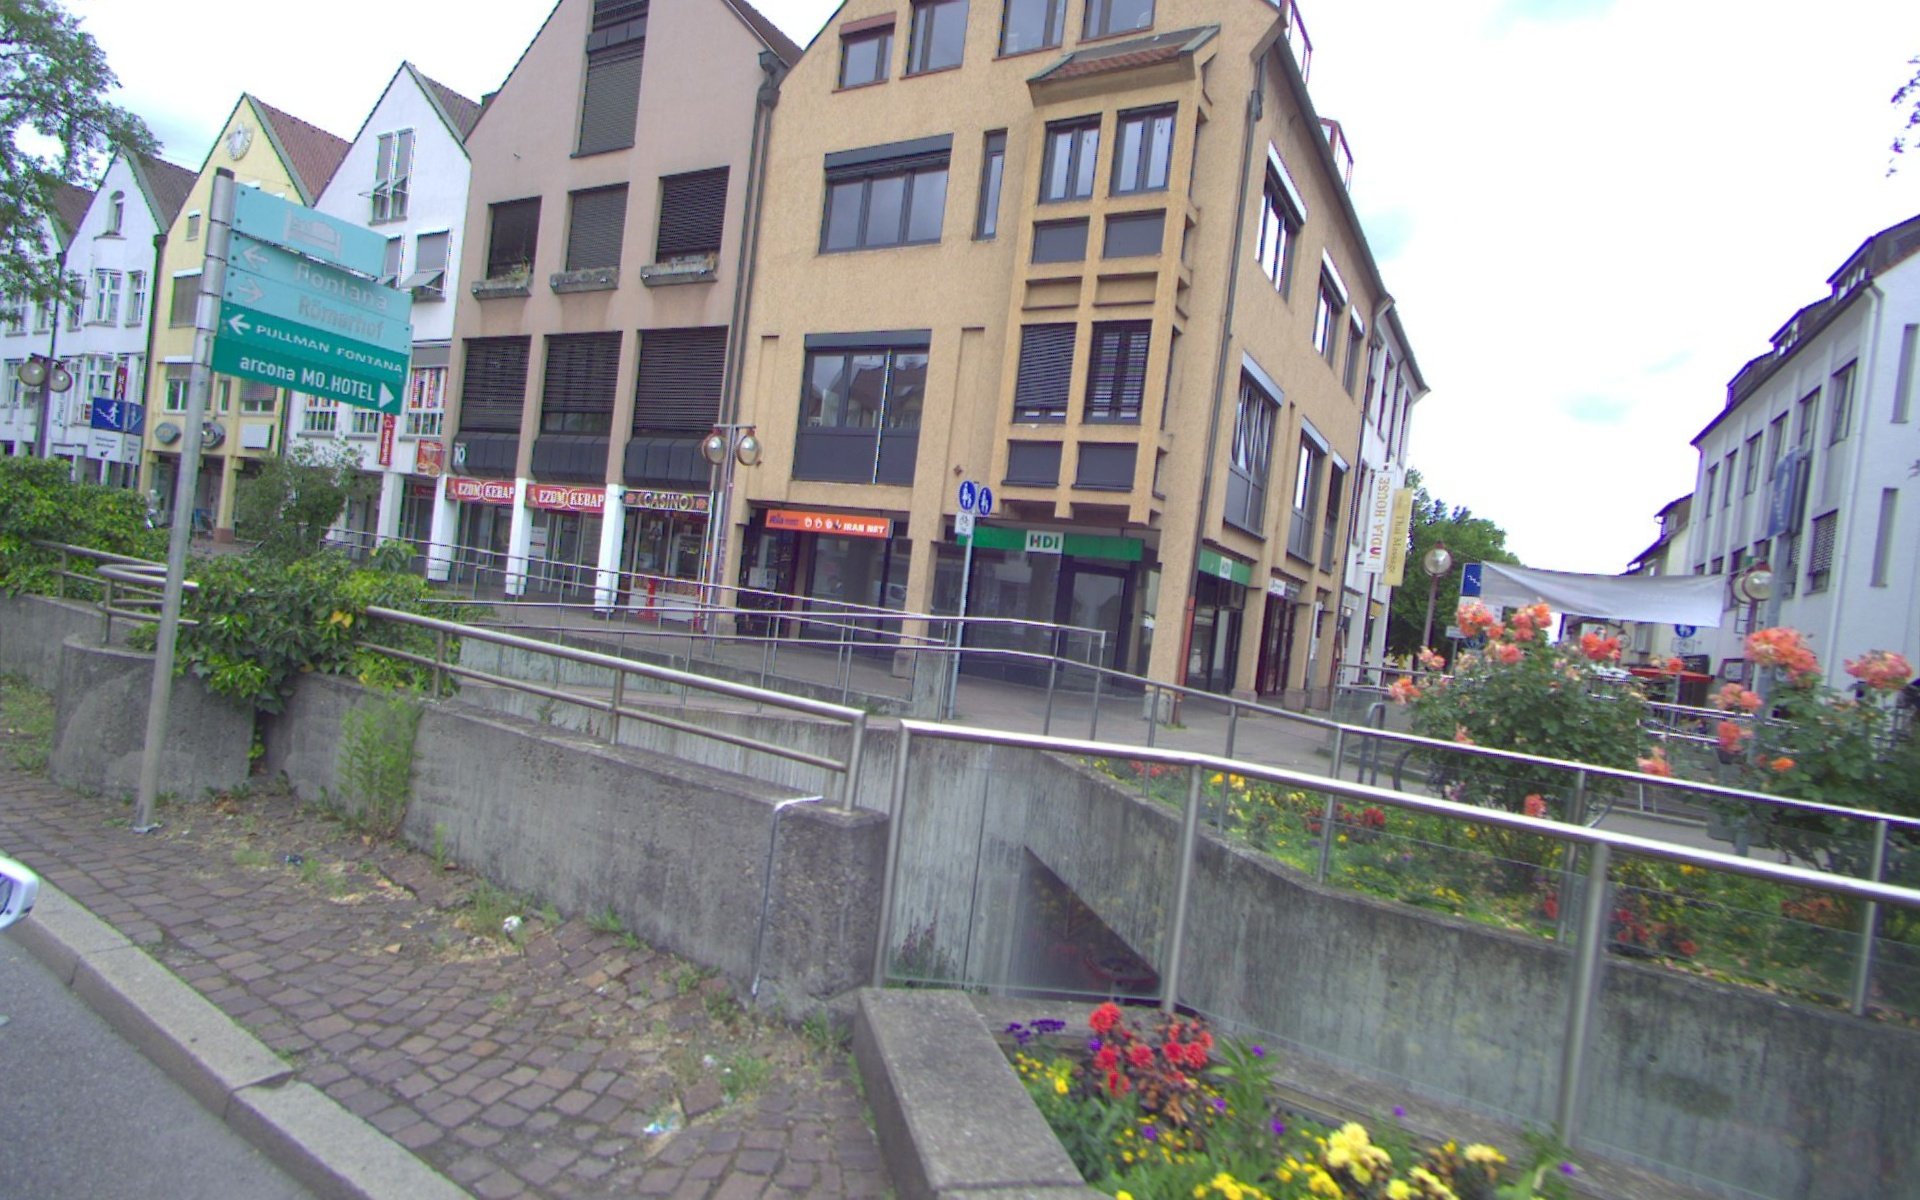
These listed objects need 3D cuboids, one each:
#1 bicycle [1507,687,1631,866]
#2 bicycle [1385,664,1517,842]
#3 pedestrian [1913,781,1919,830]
[{"bbox_3d":[5.201,1.446,8.684,0.658,1.274,1.678,8,0,27],"label":"bicycle"},{"bbox_3d":[4.505,1.319,9.218,0.828,1.343,1.820,8,0,27],"label":"bicycle"},{"bbox_3d":[14.794,2.749,14.914,0.609,1.495,0.608,7,1,19],"label":"pedestrian"}]
